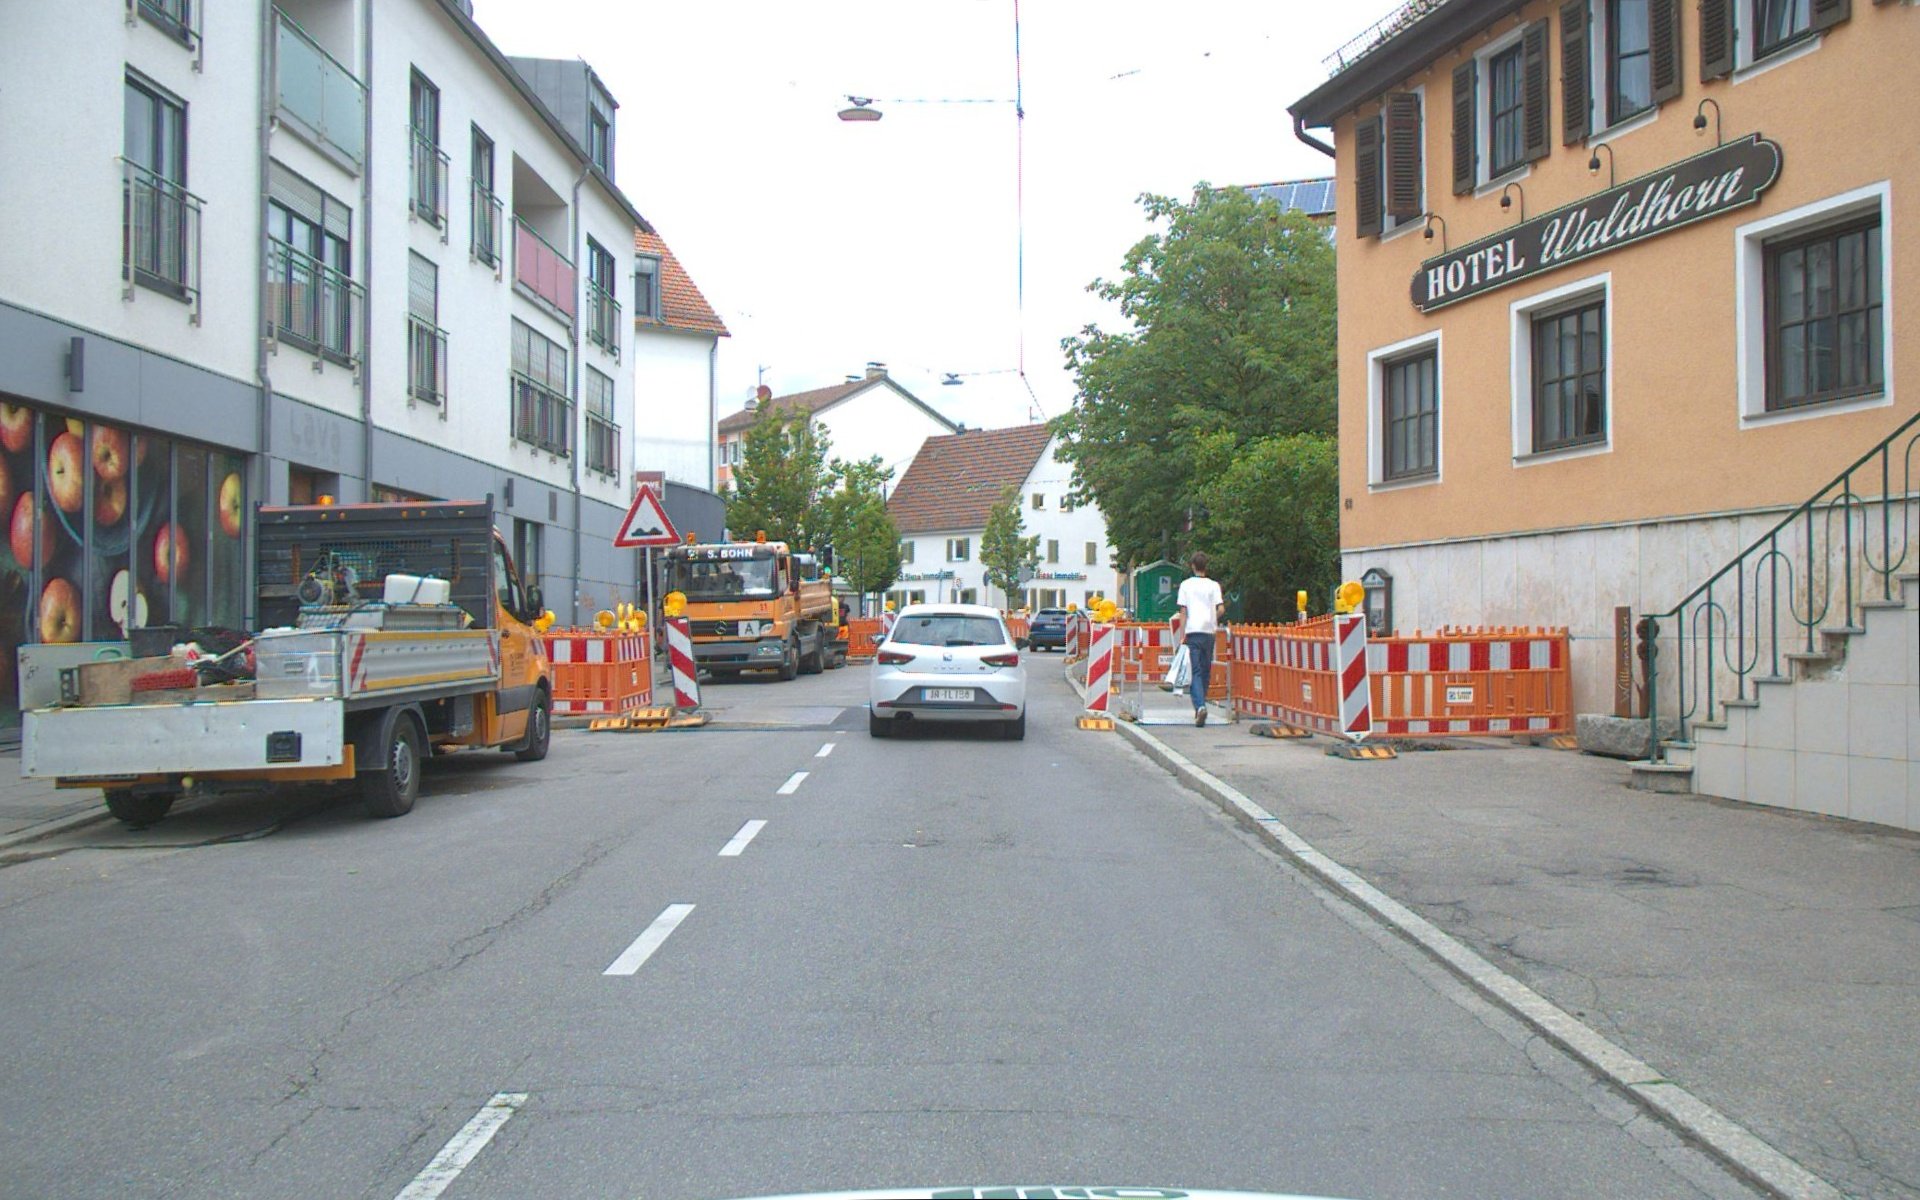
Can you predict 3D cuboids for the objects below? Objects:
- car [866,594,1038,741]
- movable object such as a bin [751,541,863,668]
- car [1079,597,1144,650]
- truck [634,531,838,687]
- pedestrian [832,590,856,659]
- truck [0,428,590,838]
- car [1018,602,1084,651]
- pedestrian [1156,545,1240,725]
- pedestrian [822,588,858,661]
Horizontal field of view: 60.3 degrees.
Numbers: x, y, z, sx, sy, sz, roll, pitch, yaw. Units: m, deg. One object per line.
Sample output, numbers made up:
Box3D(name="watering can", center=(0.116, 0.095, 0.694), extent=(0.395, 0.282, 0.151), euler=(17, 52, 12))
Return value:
Box3D(name="car", center=(-0.062, 0.694, 19.139), extent=(1.774, 1.506, 3.871), euler=(1, 0, 0))
Box3D(name="movable object such as a bin", center=(-3.529, 0.158, 39.012), extent=(1.800, 2.812, 4.508), euler=(-1, -1, 6))
Box3D(name="car", center=(6.126, 0.932, 66.446), extent=(1.951, 2.049, 4.003), euler=(-1, -1, 15))
Box3D(name="truck", center=(-4.282, 0.150, 33.073), extent=(2.674, 2.772, 6.851), euler=(-1, 0, 4))
Box3D(name="pedestrian", center=(-3.003, 0.622, 42.729), extent=(0.526, 1.774, 0.444), euler=(-1, -1, 8))
Box3D(name="truck", center=(-4.931, 0.181, 13.415), extent=(2.364, 2.509, 6.308), euler=(-1, 0, 0))
Box3D(name="car", center=(3.062, 0.845, 54.835), extent=(1.773, 1.506, 3.874), euler=(-1, 0, 9))
Box3D(name="pedestrian", center=(2.696, 0.386, 18.817), extent=(0.782, 1.984, 0.836), euler=(-1, 0, -2))
Box3D(name="pedestrian", center=(-3.095, 0.631, 42.760), extent=(0.797, 1.847, 0.744), euler=(0, 0, 7))
